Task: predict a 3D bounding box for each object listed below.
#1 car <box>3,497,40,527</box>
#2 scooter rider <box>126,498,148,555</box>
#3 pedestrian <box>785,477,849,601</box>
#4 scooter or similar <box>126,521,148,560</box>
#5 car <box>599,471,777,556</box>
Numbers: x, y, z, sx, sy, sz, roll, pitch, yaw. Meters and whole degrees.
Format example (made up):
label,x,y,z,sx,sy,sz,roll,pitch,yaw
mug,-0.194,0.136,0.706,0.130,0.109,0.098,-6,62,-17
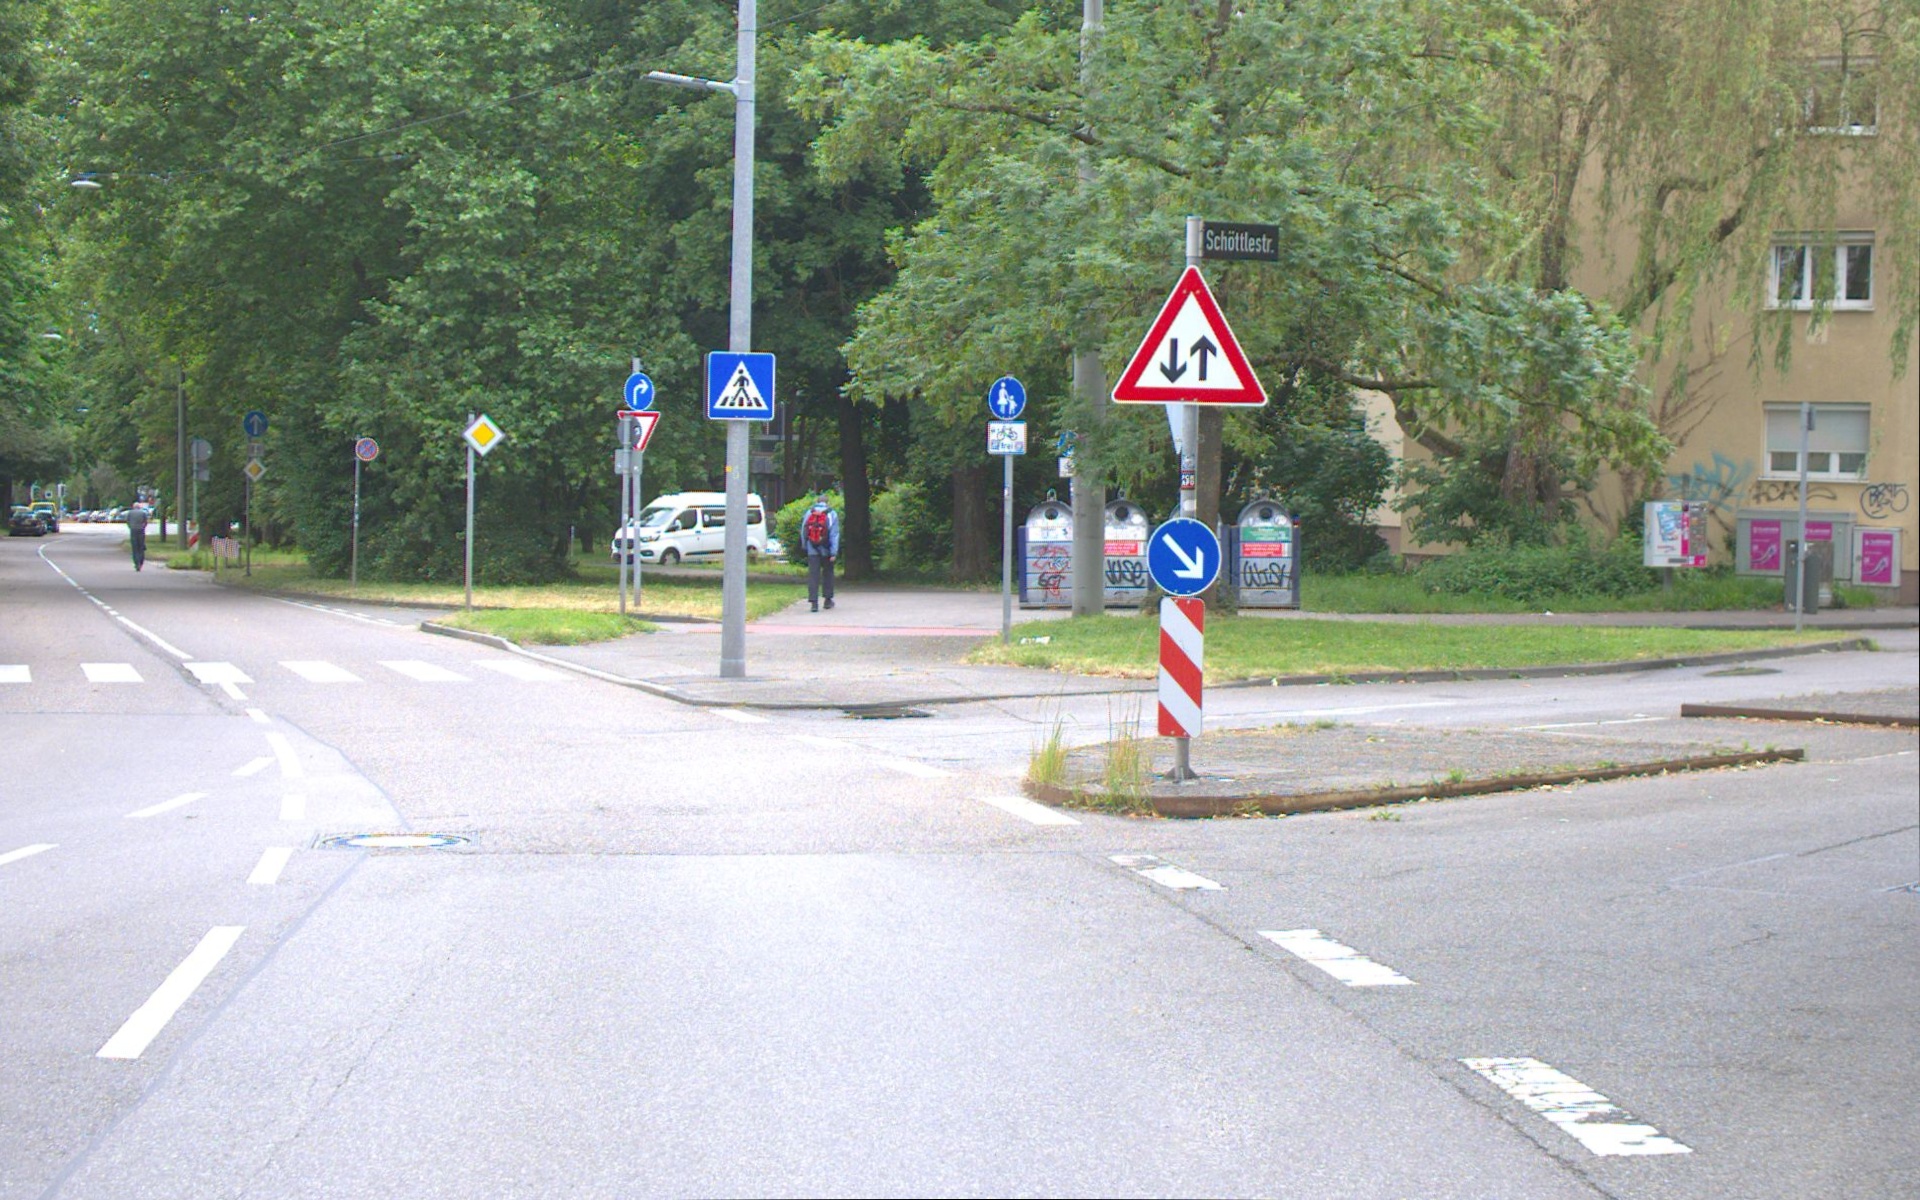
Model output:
label,x,y,z,sx,sy,sz,roll,pitch,yaw
car,-52.646,-4.939,192.822,1.833,1.493,3.658,3,2,-16
scooter rider,-22.627,-2.009,94.524,0.600,1.547,0.566,0,3,-13
pedestrian,-2.261,-0.972,54.329,0.923,1.865,1.019,-2,4,-3
scooter or similar,-22.592,-1.639,94.393,0.600,1.051,0.873,0,3,-13
car,-8.220,-2.605,104.428,2.136,2.289,5.373,6,3,39
